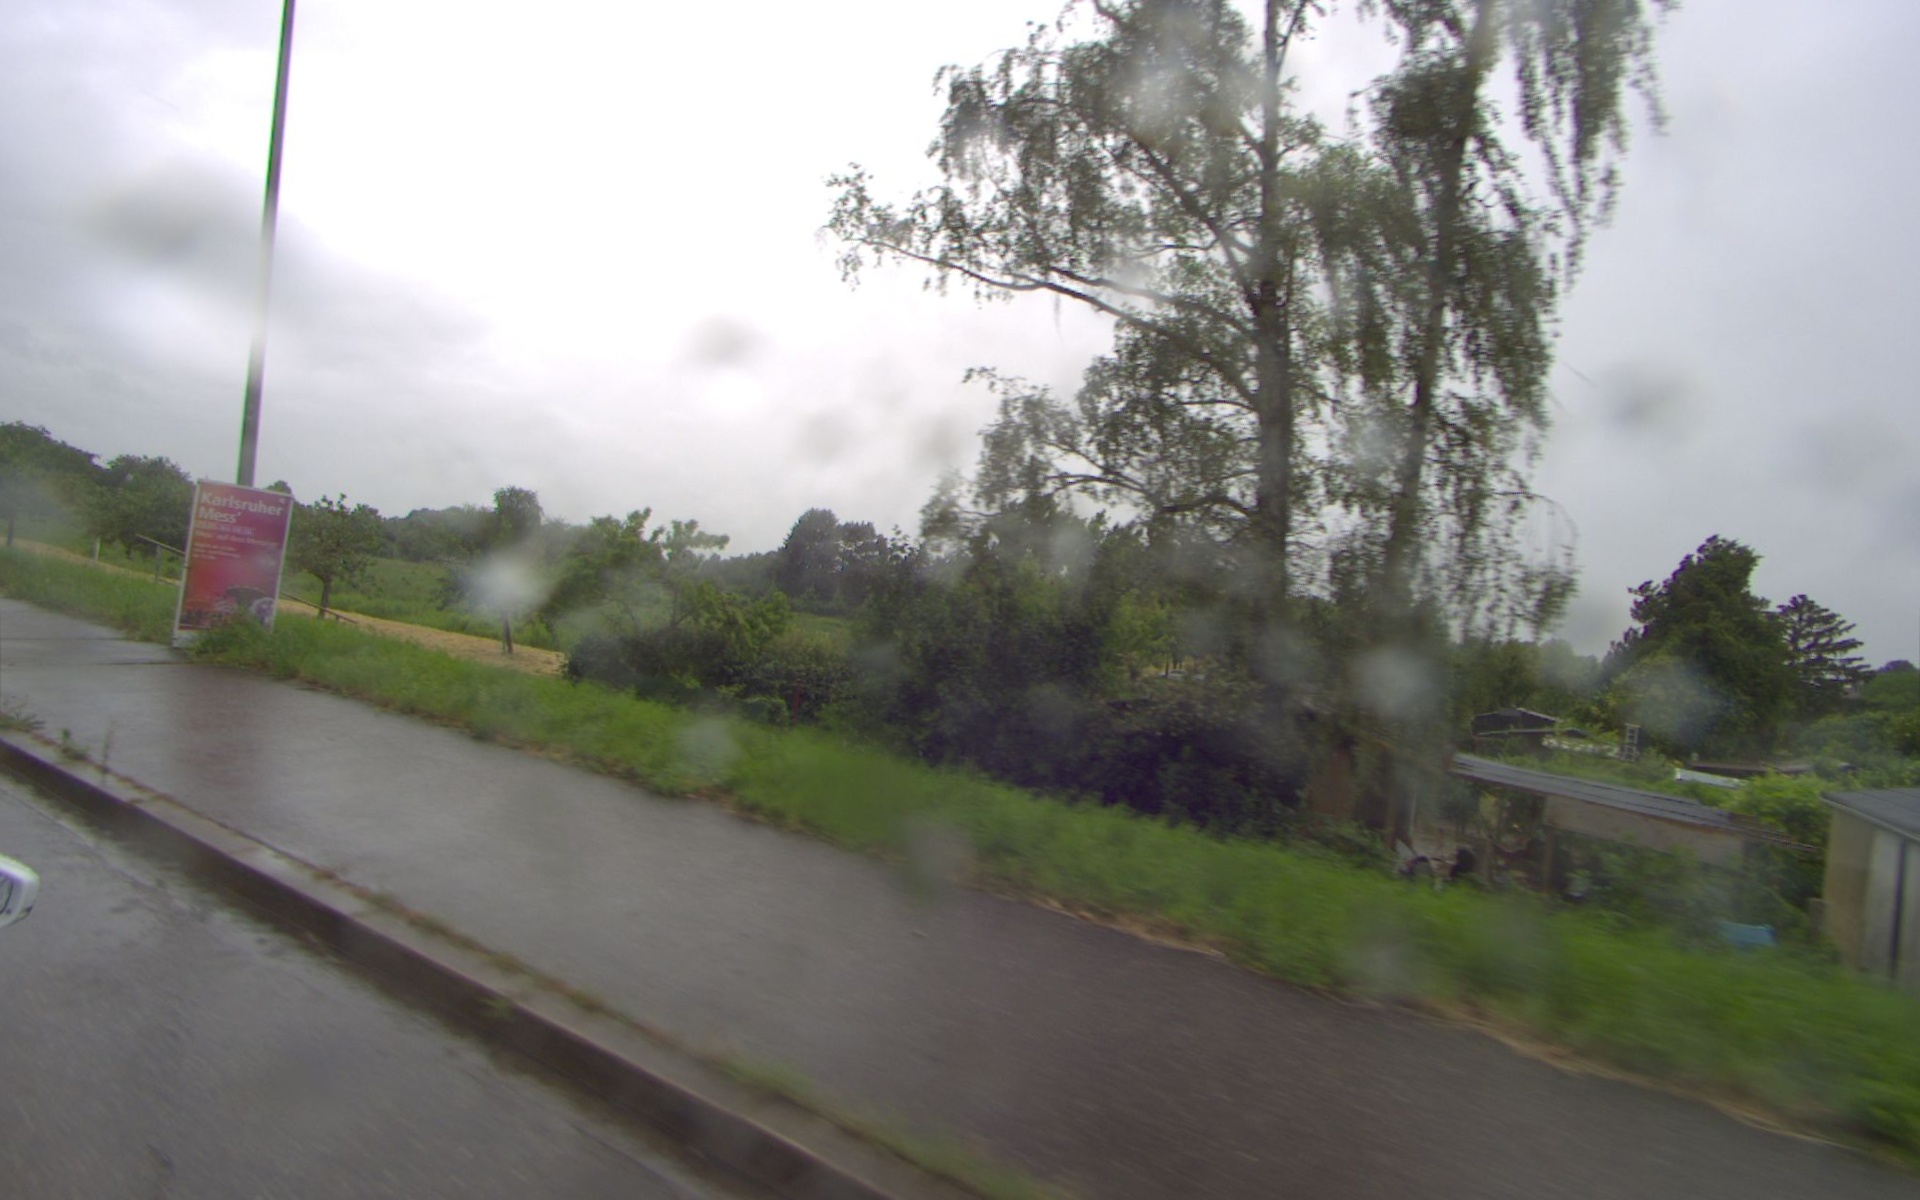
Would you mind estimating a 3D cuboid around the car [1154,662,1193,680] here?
[{"bbox_3d":[24.116,8.036,113.781,4.086,1.527,1.802,7,-2,15],"label":"car"}]
